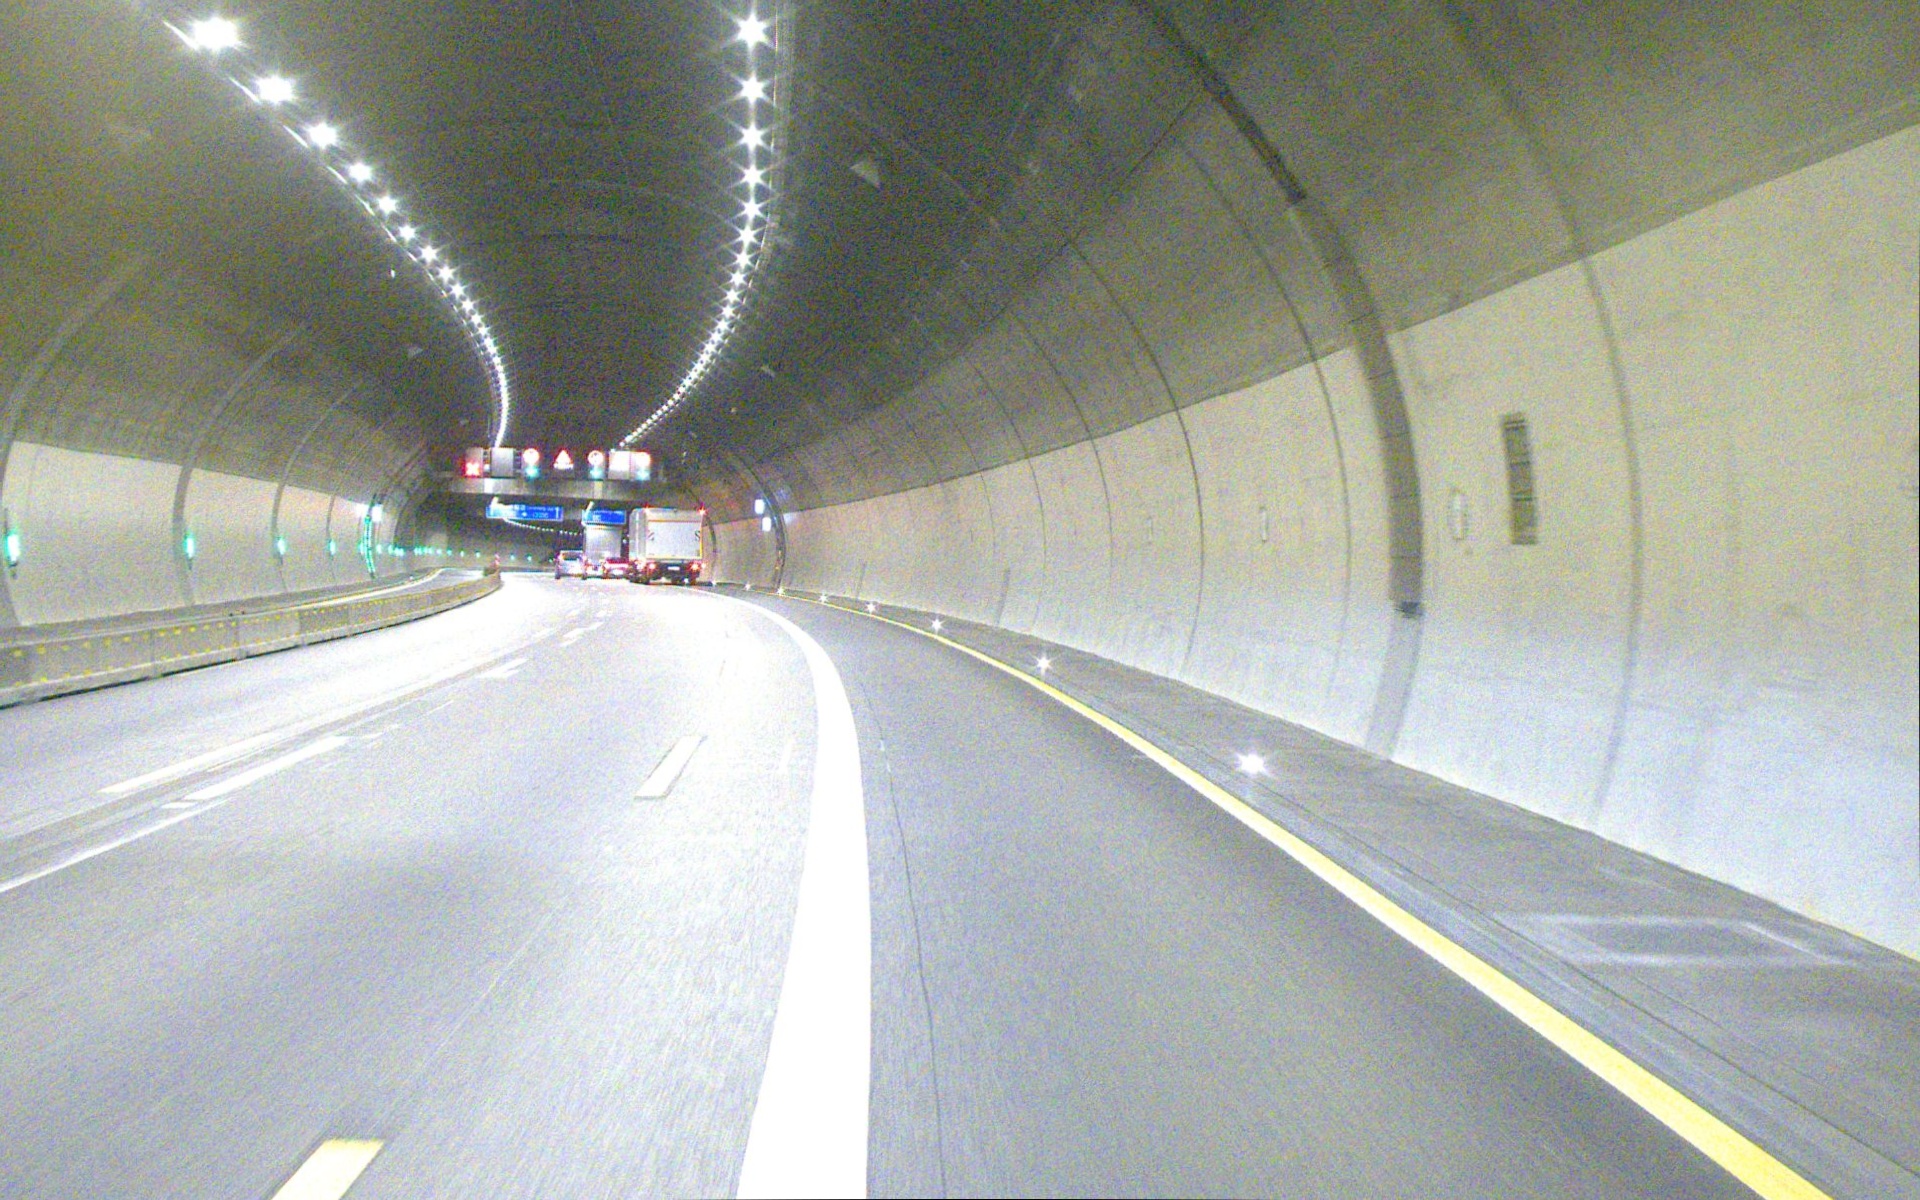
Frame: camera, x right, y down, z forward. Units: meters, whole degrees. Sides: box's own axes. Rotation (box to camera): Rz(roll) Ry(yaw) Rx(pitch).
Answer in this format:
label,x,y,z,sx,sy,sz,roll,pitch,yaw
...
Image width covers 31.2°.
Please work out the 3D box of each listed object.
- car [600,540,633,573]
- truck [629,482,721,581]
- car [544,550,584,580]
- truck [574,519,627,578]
label,x,y,z,sx,sy,sz,roll,pitch,yaw
car,-21.761,-2.760,217.979,1.993,2.007,4.001,2,1,-6
truck,-13.271,-3.173,159.141,3.473,4.301,10.955,2,1,-8
car,-21.803,-1.935,189.025,1.993,1.576,4.001,2,1,-9
truck,-27.000,-3.863,257.641,3.473,4.301,10.954,1,1,-8
